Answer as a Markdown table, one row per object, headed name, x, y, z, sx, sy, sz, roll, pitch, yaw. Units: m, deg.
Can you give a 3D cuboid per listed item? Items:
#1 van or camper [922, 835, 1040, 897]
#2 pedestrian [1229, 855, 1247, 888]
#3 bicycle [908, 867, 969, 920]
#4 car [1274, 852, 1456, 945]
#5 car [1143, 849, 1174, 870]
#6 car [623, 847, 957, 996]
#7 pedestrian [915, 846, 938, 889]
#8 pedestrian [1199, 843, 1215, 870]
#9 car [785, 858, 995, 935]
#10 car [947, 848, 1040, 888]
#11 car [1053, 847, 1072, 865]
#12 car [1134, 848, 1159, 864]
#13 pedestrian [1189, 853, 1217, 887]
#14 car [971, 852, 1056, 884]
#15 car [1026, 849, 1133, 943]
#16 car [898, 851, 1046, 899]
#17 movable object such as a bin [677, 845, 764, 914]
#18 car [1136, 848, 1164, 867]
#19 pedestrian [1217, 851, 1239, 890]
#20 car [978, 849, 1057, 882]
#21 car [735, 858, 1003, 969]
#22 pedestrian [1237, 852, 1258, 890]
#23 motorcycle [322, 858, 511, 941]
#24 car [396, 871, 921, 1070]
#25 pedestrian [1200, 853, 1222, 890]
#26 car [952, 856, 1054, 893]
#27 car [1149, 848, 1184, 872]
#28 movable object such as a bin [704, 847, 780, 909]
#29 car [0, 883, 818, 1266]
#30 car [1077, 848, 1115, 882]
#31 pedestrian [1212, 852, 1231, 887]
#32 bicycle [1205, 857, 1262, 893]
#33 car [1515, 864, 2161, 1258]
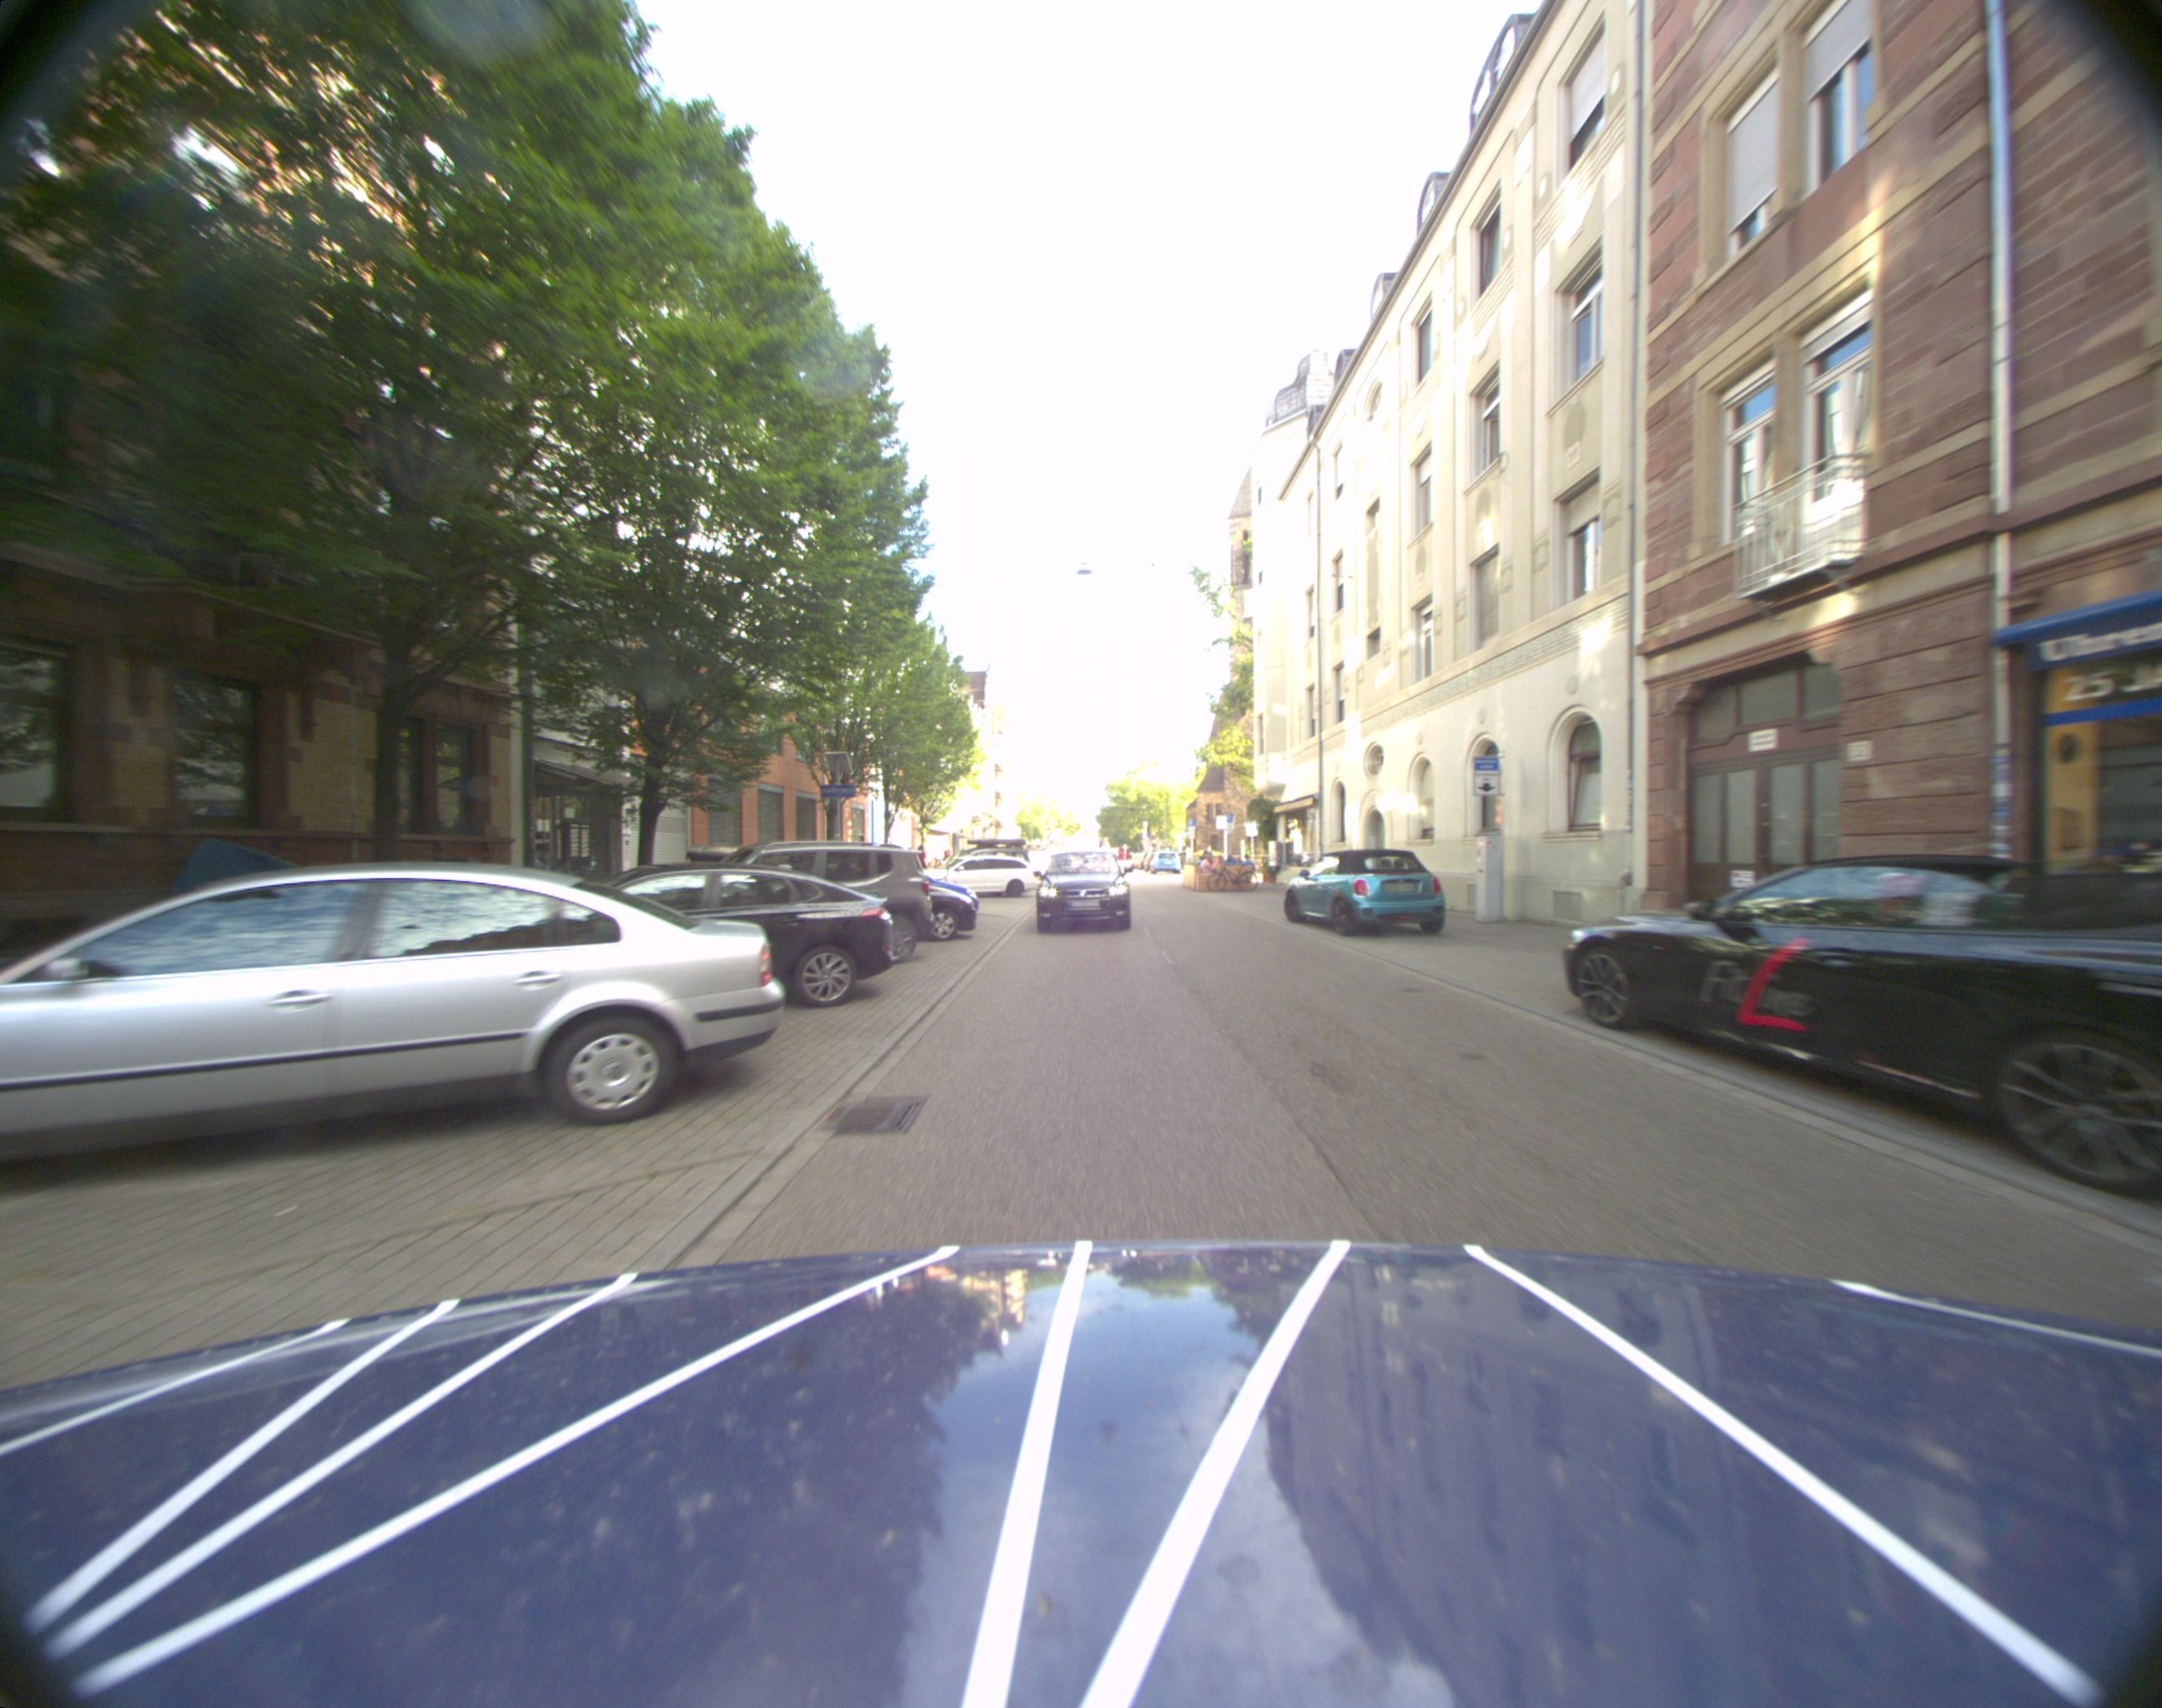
| name | x | y | z | sx | sy | sz | roll | pitch | yaw |
| --- | --- | --- | --- | --- | --- | --- | --- | --- | --- |
| van or camper | -3.861 | 0.408 | 29.376 | 4.006 | 2.166 | 1.995 | -2 | 1 | -30 |
| pedestrian | 6.049 | 0.652 | 29.243 | 0.597 | 1.236 | 0.694 | -2 | 1 | 7 |
| bicycle | -3.556 | 0.946 | 18.821 | 0.703 | 1.205 | 1.744 | -3 | 2 | -39 |
| car | 5.019 | 0.701 | 14.053 | 1.674 | 1.407 | 4.011 | -2 | 1 | -3 |
| car | 5.710 | 0.368 | 56.580 | 1.911 | 1.412 | 4.000 | -2 | 1 | 1 |
| car | -3.963 | 0.776 | 10.550 | 4.007 | 1.689 | 1.848 | 0 | 0 | -34 |
| pedestrian | -6.392 | 0.538 | 31.451 | 0.754 | 1.729 | 0.952 | 2 | 1 | -4 |
| pedestrian | 7.913 | 0.152 | 47.668 | 0.845 | 1.699 | 0.879 | -2 | 1 | 1 |
| car | -4.003 | 0.847 | 16.007 | 4.006 | 1.430 | 1.721 | 1 | 0 | -26 |
| car | -4.269 | 0.649 | 37.144 | 4.006 | 1.751 | 1.908 | -2 | 1 | -31 |
| car | -2.154 | 0.220 | 89.128 | 1.810 | 1.914 | 4.000 | -3 | 0 | 2 |
| car | 5.960 | 0.177 | 69.743 | 1.911 | 1.412 | 4.000 | -2 | 1 | 1 |
| pedestrian | 5.012 | 0.646 | 31.167 | 1.088 | 1.365 | 0.895 | -2 | 1 | 9 |
| car | -3.576 | 0.716 | 40.489 | 4.006 | 1.499 | 1.995 | -2 | 1 | -31 |
| car | 0.122 | 0.757 | 16.083 | 1.874 | 1.644 | 4.388 | -2 | 1 | 4 |
| car | -3.812 | 0.723 | 26.837 | 4.816 | 1.535 | 1.866 | 1 | 1 | -31 |
| movable object such as a bin | -8.513 | 0.587 | 18.012 | 1.375 | 1.451 | 1.164 | 6 | 1 | -2 |
| car | 5.697 | 0.256 | 62.963 | 1.911 | 1.412 | 4.000 | -2 | 1 | 1 |
| pedestrian | 5.419 | 0.598 | 27.981 | 0.689 | 1.365 | 0.739 | -2 | 1 | 4 |
| car | -3.594 | 0.644 | 43.183 | 4.006 | 1.663 | 1.923 | -2 | 1 | -31 |
| car | -3.644 | 0.905 | 13.379 | 4.133 | 1.512 | 1.840 | -2 | 2 | -36 |
| pedestrian | 6.105 | 0.617 | 27.869 | 0.637 | 1.364 | 0.684 | -2 | 1 | 4 |
| motorcycle | -10.870 | 0.681 | 12.605 | 0.896 | 1.180 | 2.491 | -2 | 1 | 0 |
| car | -3.932 | 0.912 | 7.623 | 4.145 | 1.409 | 1.864 | 0 | 0 | -35 |
| pedestrian | 4.878 | 0.651 | 28.566 | 0.739 | 1.341 | 0.644 | -2 | 1 | 3 |
| car | -3.317 | 0.842 | 32.626 | 4.006 | 1.391 | 1.657 | -2 | 1 | -31 |
| car | 5.640 | 0.378 | 50.400 | 1.828 | 1.477 | 4.169 | -2 | 1 | 1 |
| movable object such as a bin | -8.506 | 0.585 | 19.135 | 1.375 | 1.438 | 1.037 | 4 | 1 | -2 |
| car | -4.057 | 0.925 | 4.208 | 4.620 | 1.443 | 1.788 | 1 | 0 | -31 |
| car | 0.796 | 0.538 | 39.324 | 1.810 | 1.622 | 4.000 | -3 | 0 | 2 |
| pedestrian | 5.428 | 0.602 | 29.356 | 0.668 | 1.328 | 0.740 | -2 | 1 | 7 |
| bicycle | 5.375 | 0.739 | 26.904 | 1.872 | 1.168 | 0.688 | -2 | 1 | 2 |
| car | 4.928 | 0.804 | 4.452 | 1.816 | 1.343 | 5.114 | -1 | 1 | 0 |
